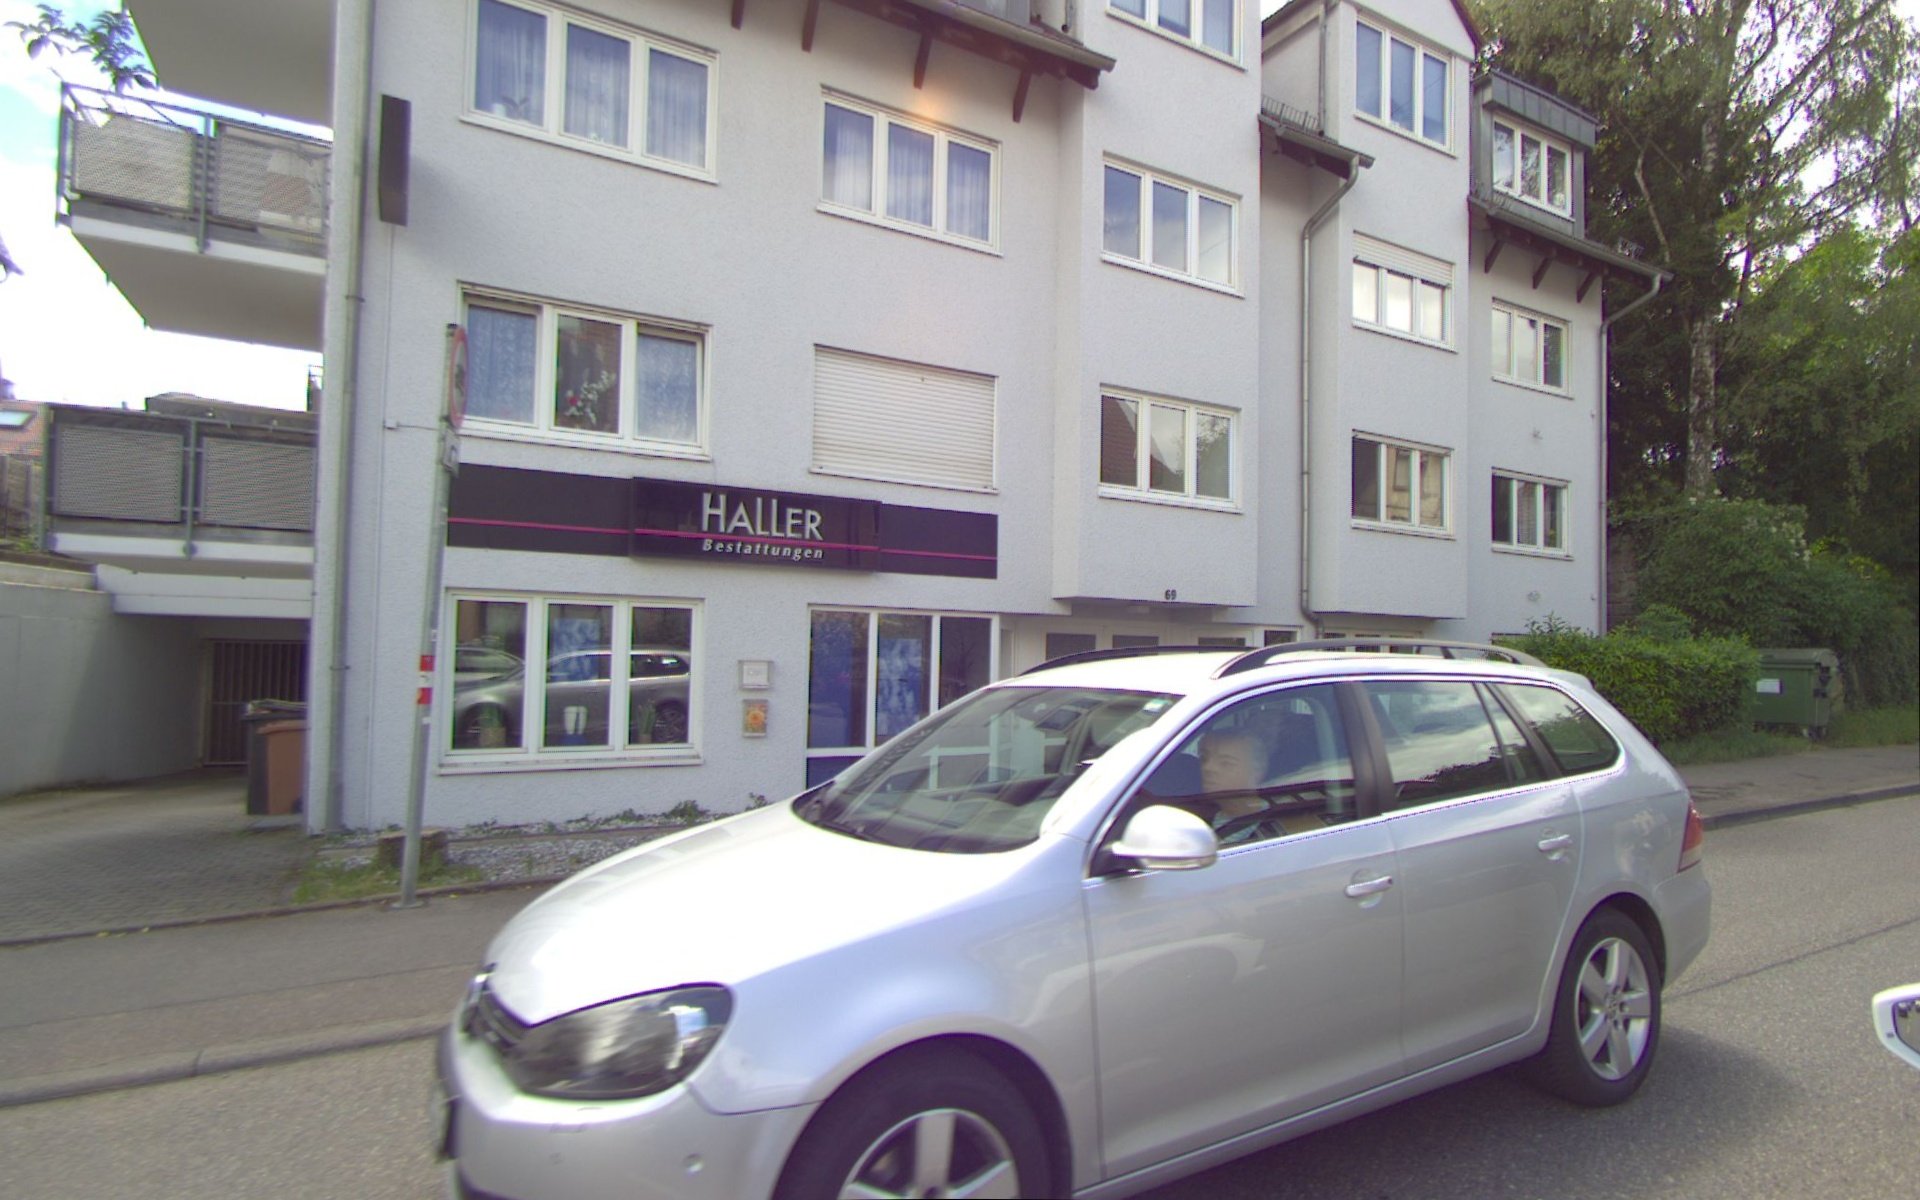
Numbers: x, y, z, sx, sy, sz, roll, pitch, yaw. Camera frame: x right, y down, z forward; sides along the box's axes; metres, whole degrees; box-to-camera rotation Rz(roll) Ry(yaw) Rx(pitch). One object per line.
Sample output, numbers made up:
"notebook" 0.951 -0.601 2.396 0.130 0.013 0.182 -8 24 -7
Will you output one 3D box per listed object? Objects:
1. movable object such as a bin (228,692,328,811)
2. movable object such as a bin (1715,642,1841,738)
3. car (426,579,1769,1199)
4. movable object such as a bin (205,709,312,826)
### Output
"movable object such as a bin" -6.979 1.531 10.317 0.696 1.115 0.736 3 -2 -25
"movable object such as a bin" 13.292 1.439 16.330 1.202 1.446 1.321 3 -2 -35
"car" 0.690 0.846 3.389 4.325 1.522 1.721 2 -4 -30
"movable object such as a bin" -6.574 1.543 9.447 0.652 0.975 0.795 3 -2 -25
